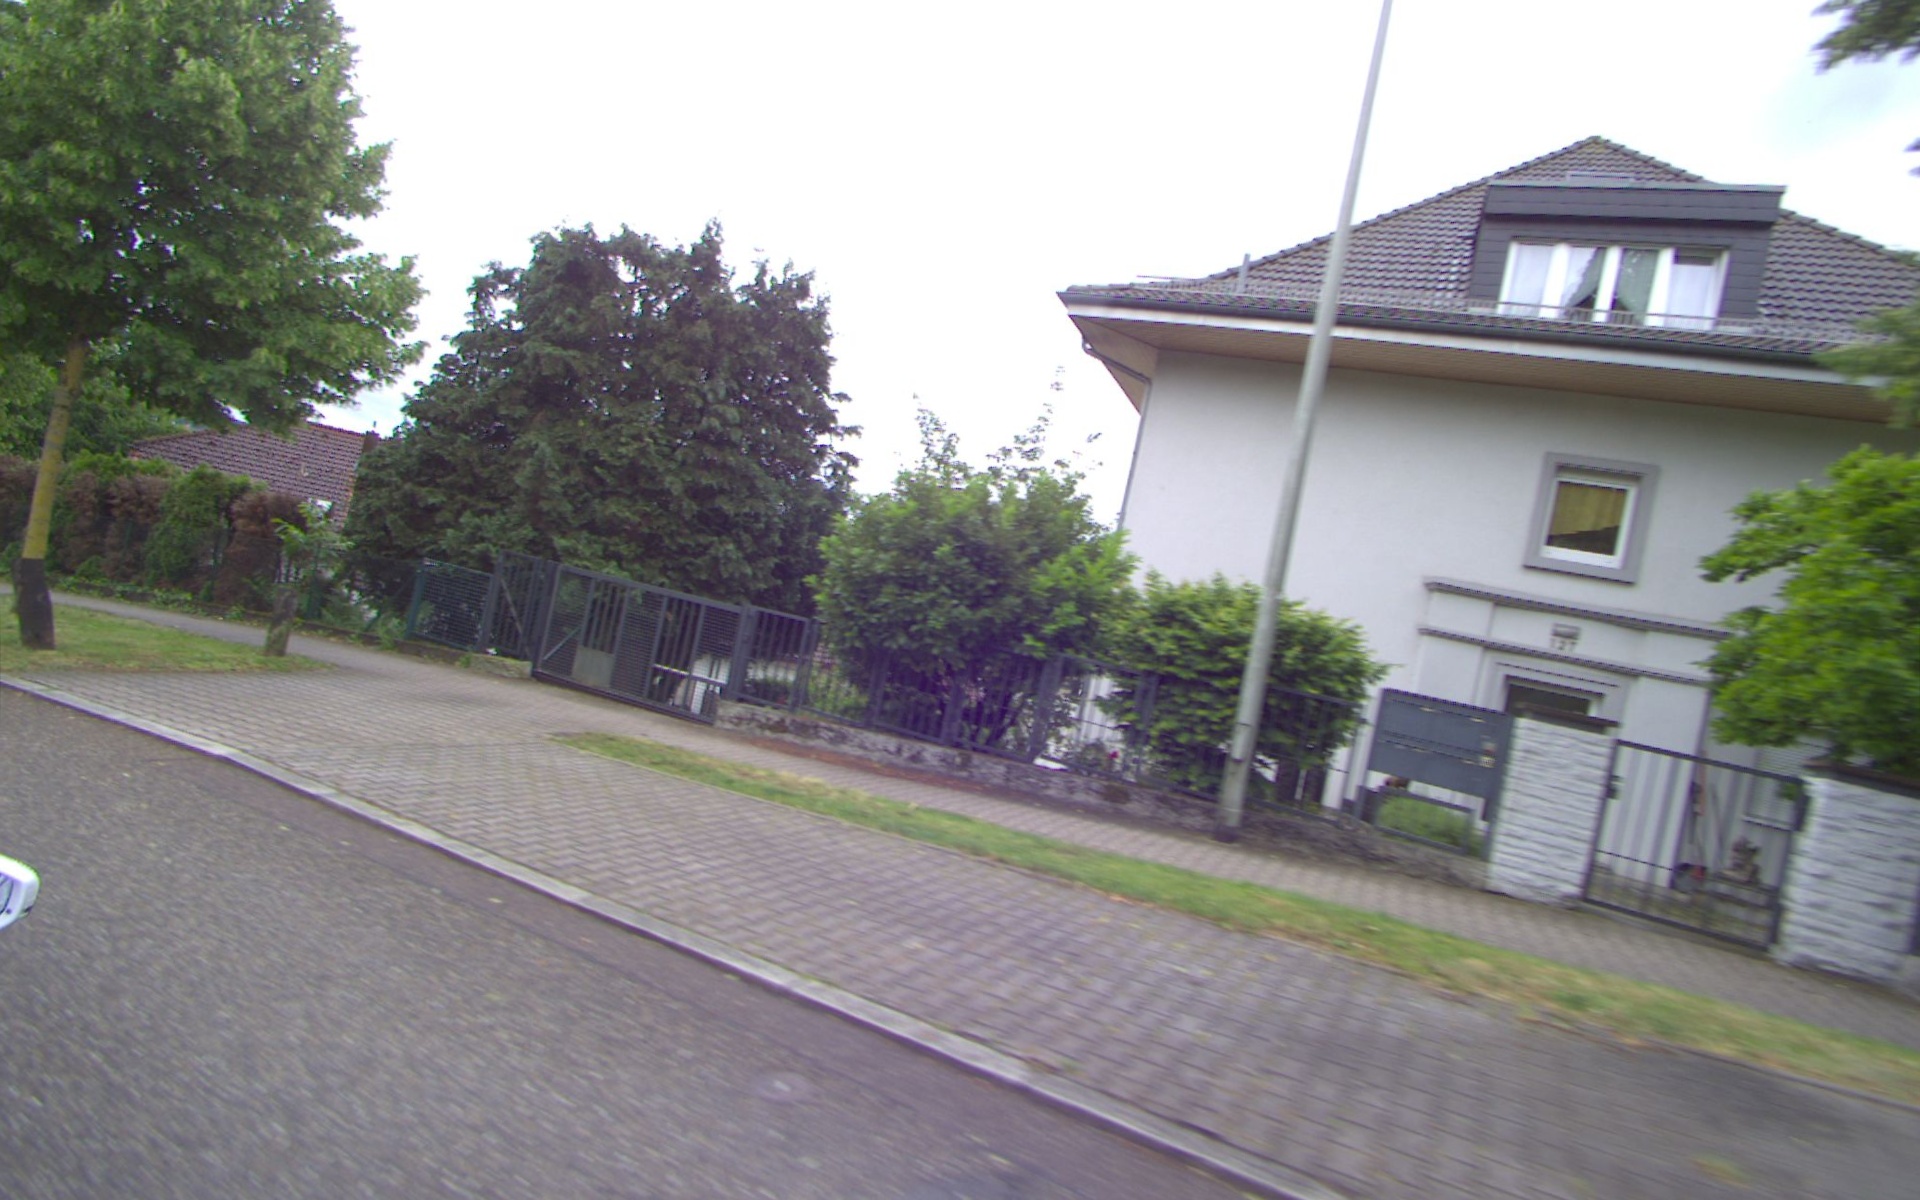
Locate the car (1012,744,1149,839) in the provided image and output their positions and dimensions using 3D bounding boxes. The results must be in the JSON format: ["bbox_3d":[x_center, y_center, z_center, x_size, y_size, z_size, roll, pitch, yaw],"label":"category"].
[{"bbox_3d":[2.902,4.358,23.468,1.964,1.437,3.999,8,-1,24],"label":"car"}]
